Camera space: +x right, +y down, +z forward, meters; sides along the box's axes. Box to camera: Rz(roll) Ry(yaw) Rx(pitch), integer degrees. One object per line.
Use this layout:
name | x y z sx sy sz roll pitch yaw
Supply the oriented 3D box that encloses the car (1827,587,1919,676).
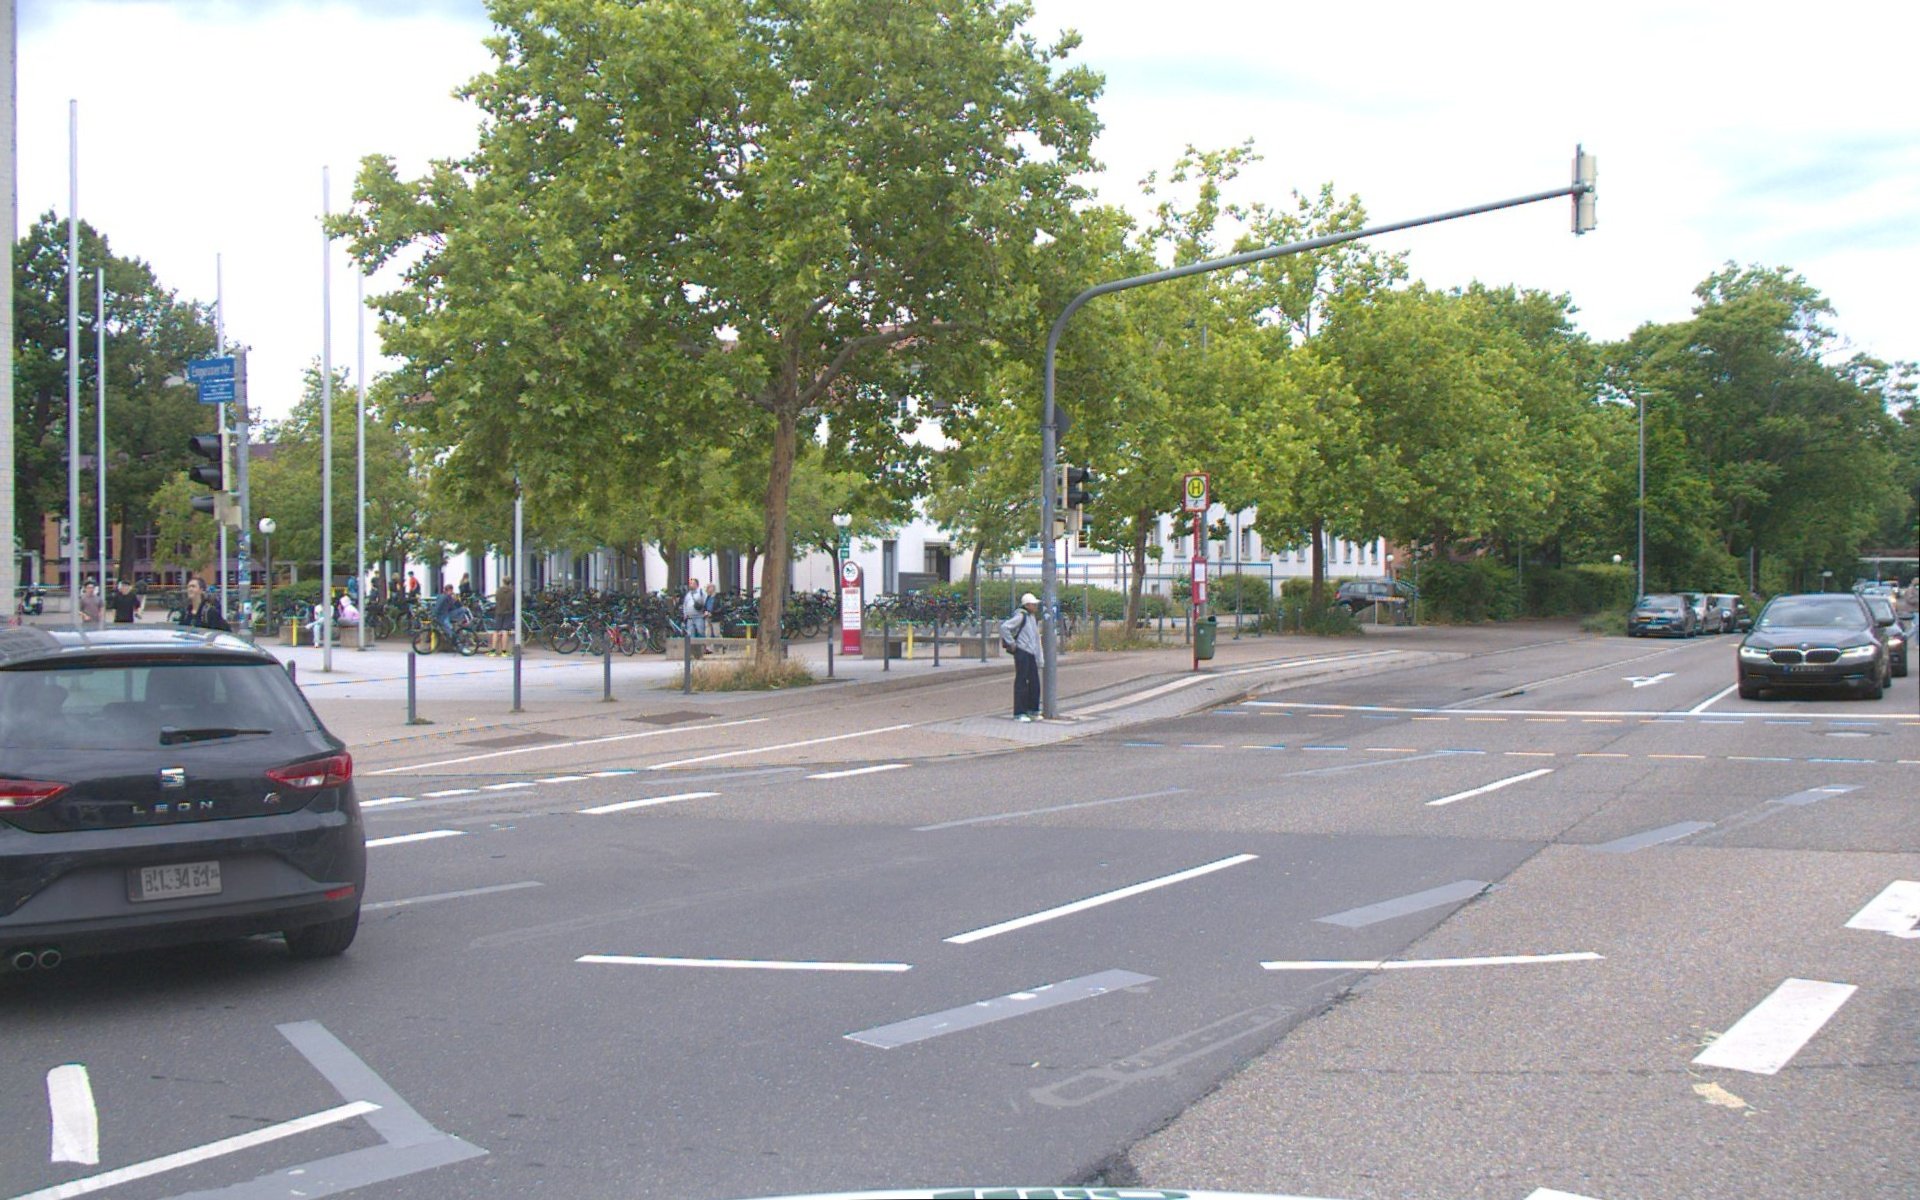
car | 16.950 0.527 29.899 1.958 1.478 3.990 0 1 32

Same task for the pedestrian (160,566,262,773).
pedestrian | -7.462 0.664 16.473 0.784 1.986 0.748 -1 0 -36

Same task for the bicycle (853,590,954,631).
bicycle | -1.858 0.327 53.867 3.326 1.190 1.052 3 1 36

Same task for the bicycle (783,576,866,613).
bicycle | -4.799 -0.208 58.468 3.042 1.190 0.746 3 1 32

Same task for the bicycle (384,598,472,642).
bicycle | -16.084 0.588 49.967 3.042 1.190 0.746 3 1 32

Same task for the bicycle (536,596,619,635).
bicycle | -12.867 0.507 55.614 3.041 1.190 0.746 3 1 31

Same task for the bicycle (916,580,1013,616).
bicycle | 0.136 -0.077 56.752 3.326 1.190 1.052 0 1 36

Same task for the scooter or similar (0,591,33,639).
scooter or similar | -28.235 0.433 49.220 0.396 1.393 1.492 2 1 2

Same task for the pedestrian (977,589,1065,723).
pedestrian | 0.778 0.703 21.187 0.779 1.655 0.753 3 1 42

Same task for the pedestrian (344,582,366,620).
pedestrian | -26.537 0.033 72.547 0.651 1.669 0.662 0 0 28

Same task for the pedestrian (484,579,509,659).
pedestrian | -11.025 0.441 39.326 0.502 1.865 0.669 -1 0 -20

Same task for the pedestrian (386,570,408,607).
pedestrian | -25.410 -0.506 74.673 0.678 1.669 0.662 0 0 28

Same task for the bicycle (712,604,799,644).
bicycle | -6.800 0.793 54.969 3.042 1.190 0.746 3 1 32

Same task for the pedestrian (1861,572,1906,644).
pedestrian | 23.590 0.193 42.240 0.697 1.819 0.895 0 0 6

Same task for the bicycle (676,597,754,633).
bicycle | -9.079 0.547 61.253 3.041 1.190 0.746 3 1 31

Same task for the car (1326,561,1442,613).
car | 15.269 -0.458 59.767 3.966 1.783 2.002 -1 1 13

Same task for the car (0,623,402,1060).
car | -4.147 0.875 7.751 1.769 1.444 4.076 0 0 -36

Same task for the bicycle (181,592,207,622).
bicycle | -29.145 0.244 62.951 0.862 1.112 1.787 0 1 -25

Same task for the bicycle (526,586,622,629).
bicycle | -11.029 0.218 47.239 3.041 1.190 0.746 0 1 32

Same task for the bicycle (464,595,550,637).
bicycle | -14.470 0.497 52.788 3.042 1.190 0.746 3 1 32

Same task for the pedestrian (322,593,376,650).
pedestrian | -15.750 0.557 42.651 0.945 1.445 0.853 -1 1 19

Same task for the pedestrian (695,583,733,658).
pedestrian | -5.861 0.481 39.425 0.644 1.745 0.583 -1 0 36

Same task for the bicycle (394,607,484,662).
bicycle | -12.488 0.806 39.595 2.359 1.190 0.457 2 1 26

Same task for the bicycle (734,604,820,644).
bicycle | -6.206 0.796 56.005 3.042 1.190 0.746 3 1 32

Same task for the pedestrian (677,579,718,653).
pedestrian | -6.344 0.384 39.916 0.665 1.745 0.671 -1 1 36

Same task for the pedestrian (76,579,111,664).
pedestrian | -19.209 0.474 36.671 0.634 1.839 0.642 2 1 -30

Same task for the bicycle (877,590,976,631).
bicycle | -1.133 0.335 54.917 3.326 1.190 1.052 3 1 36

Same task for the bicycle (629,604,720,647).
bicycle | -8.852 0.783 51.200 3.042 1.190 0.746 3 1 32

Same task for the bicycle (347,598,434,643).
bicycle | -16.771 0.586 48.677 3.042 1.190 0.620 3 1 32

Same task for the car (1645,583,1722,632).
car | 25.972 0.252 59.307 1.958 1.646 3.990 0 1 32

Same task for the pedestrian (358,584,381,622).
pedestrian | -26.342 0.144 73.802 0.651 1.669 0.662 -1 0 27

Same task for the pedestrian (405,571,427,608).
pedestrian | -24.390 -0.462 74.196 0.651 1.669 0.662 0 0 28

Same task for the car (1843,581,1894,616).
car | 44.403 -0.073 80.813 1.958 1.646 4.183 0 1 32

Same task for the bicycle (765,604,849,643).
bicycle | -5.338 0.800 57.621 3.042 1.190 0.746 3 1 32

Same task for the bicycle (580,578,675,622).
bicycle | -9.890 -0.004 49.140 3.042 1.190 0.746 3 1 32

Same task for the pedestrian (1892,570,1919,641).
pedestrian | 24.434 0.133 42.336 0.697 1.819 0.895 0 0 6

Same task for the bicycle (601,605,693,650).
bicycle | -9.517 0.819 50.239 3.042 1.190 0.746 3 1 32

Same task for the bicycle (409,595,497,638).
bicycle | -15.566 0.493 50.728 3.042 1.190 0.746 3 1 32

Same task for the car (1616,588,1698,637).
car | 23.478 0.405 55.645 1.958 1.538 3.990 0 1 32

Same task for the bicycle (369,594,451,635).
bicycle | -17.957 0.453 53.970 3.042 1.190 0.746 3 1 32

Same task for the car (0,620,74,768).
car | -12.005 1.050 18.699 4.016 1.527 1.624 -1 2 31

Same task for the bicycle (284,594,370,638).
bicycle | -19.486 0.484 50.887 3.042 1.190 0.746 3 1 32

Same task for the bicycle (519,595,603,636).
bicycle | -13.274 0.503 54.950 3.041 1.190 0.746 3 1 31

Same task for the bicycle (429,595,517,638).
bicycle | -15.146 0.497 51.386 3.042 1.190 0.746 3 1 32

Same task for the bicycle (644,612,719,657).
bicycle | -6.863 0.834 40.672 1.891 1.067 0.457 0 2 26

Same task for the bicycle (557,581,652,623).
bicycle | -10.383 0.058 48.236 3.041 1.190 0.746 0 1 32

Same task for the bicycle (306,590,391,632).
bicycle | -19.075 0.340 51.560 3.042 1.190 0.746 3 1 32

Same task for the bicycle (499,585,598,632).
bicycle | -11.508 0.231 46.172 3.042 1.190 0.746 3 1 32

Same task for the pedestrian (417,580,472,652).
pedestrian | -12.630 0.395 40.555 0.947 1.734 0.851 -1 0 29

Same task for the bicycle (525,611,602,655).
bicycle | -9.911 0.822 41.354 1.888 1.067 0.457 0 1 16

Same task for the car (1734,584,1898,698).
car | 12.705 0.553 24.466 1.956 1.515 4.285 -2 0 29

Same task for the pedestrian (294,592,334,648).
pedestrian | -16.727 0.514 42.862 0.751 1.438 0.673 -1 0 -2

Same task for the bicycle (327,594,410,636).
bicycle | -18.697 0.456 52.248 3.042 1.190 0.746 3 1 32

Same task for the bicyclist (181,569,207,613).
bicyclist | -29.146 -0.347 62.937 0.862 1.669 0.861 0 1 -25

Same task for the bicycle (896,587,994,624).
bicycle | -0.513 0.192 55.831 3.325 1.190 1.052 -1 0 36

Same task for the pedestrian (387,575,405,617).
pedestrian | -22.954 -0.156 67.320 0.650 1.669 0.663 -2 1 -18

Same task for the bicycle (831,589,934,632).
bicycle | -2.492 0.324 52.680 3.326 1.190 1.052 3 1 36

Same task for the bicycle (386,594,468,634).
bicycle | -17.648 0.452 54.730 3.042 1.190 0.746 3 1 32

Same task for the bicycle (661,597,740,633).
bicycle | -9.506 0.544 60.496 3.041 1.190 0.746 3 1 31
